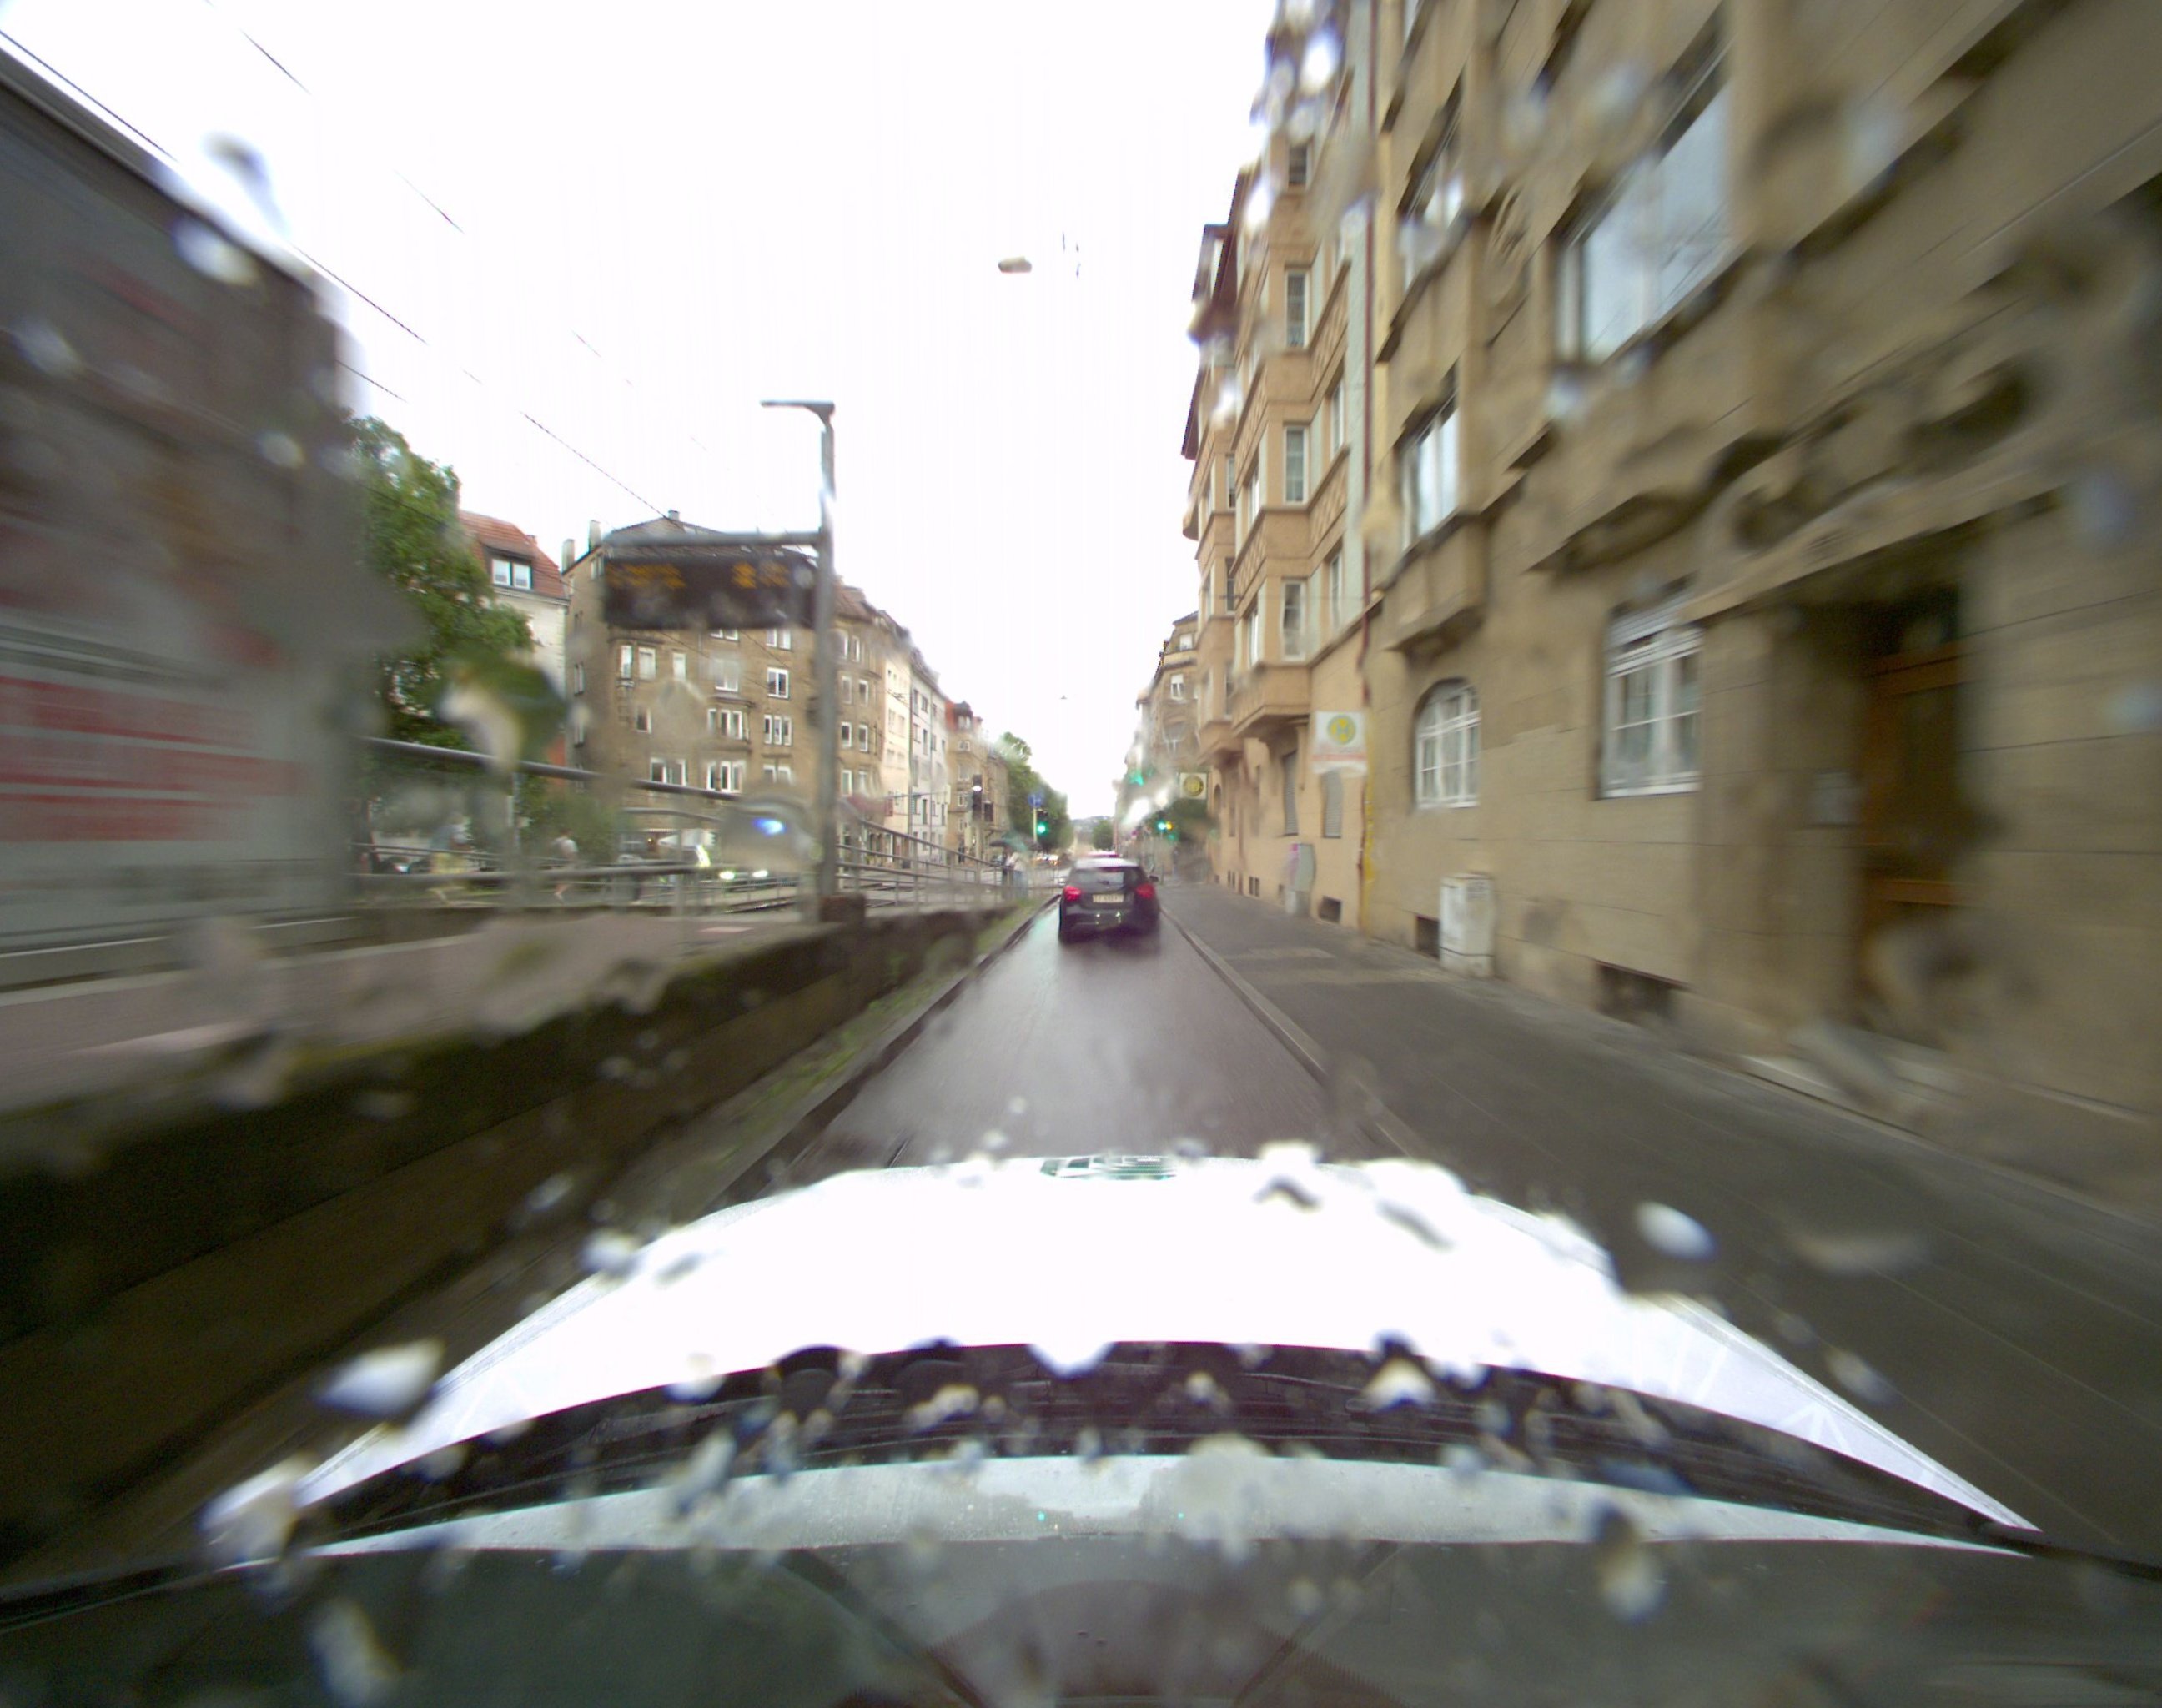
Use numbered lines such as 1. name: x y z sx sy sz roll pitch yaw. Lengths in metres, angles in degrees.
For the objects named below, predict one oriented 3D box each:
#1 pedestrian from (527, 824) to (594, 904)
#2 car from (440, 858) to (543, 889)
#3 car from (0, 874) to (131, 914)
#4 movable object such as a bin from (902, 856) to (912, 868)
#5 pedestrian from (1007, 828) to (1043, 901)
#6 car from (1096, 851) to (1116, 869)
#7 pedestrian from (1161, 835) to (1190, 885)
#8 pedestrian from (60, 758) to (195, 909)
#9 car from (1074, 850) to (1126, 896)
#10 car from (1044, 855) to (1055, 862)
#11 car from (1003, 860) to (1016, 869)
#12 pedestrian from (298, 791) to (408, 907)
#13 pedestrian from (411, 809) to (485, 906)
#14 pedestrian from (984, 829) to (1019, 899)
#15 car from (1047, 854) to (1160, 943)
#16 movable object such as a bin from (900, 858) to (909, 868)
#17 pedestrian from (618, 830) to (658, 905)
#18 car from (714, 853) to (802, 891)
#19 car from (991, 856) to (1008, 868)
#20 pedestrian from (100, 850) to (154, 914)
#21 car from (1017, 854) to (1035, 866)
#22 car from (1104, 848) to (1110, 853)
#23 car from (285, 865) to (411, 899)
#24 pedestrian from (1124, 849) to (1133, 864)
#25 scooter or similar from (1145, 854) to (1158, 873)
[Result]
1. pedestrian: -10.504 0.204 16.476 0.690 1.583 0.956 0 -1 2
2. car: -30.163 0.967 41.725 1.720 1.403 4.024 -2 0 43
3. car: -39.928 1.528 31.412 1.720 1.403 4.169 -2 0 43
4. movable object such as a bin: -16.043 0.741 75.146 0.710 1.074 0.687 3 0 1
5. pedestrian: -1.593 0.293 23.260 0.922 2.014 0.948 0 0 1
6. car: 2.276 0.525 75.391 1.759 1.559 4.747 -1 0 2
7. pedestrian: 3.649 0.242 31.337 0.960 1.840 0.904 -4 -1 6
8. pedestrian: -11.104 -0.223 9.511 0.662 1.699 0.688 1 -2 -2
9. car: 0.687 0.603 27.892 1.643 1.452 4.002 0 0 2
10. car: -6.577 1.019 171.700 1.941 1.396 4.276 -2 0 2
11. car: -11.331 1.626 128.725 1.562 1.316 3.484 -2 0 3
12. pedestrian: -10.916 -0.049 12.247 0.741 1.697 0.883 0 -4 1
13. pedestrian: -11.069 0.063 14.264 0.741 1.647 0.641 0 -1 1
14. pedestrian: -2.310 0.298 23.888 0.893 2.014 0.948 0 0 1
15. car: 0.487 0.721 15.351 1.858 1.452 4.004 0 0 3
16. movable object such as a bin: -16.113 0.820 74.436 0.591 0.911 0.560 3 0 1
17. pedestrian: -10.877 0.322 20.010 0.509 1.818 0.800 0 0 2
18. car: -13.526 0.712 34.422 1.637 1.497 4.766 -1 0 2
19. car: -11.415 1.093 113.618 1.715 1.541 3.937 -2 0 3
20. pedestrian: -25.544 0.728 21.813 0.602 1.675 0.688 -2 0 -1
21. car: -7.933 0.828 117.489 1.986 1.628 5.254 -1 -1 2
22. car: 7.146 -1.078 227.175 1.607 1.317 4.001 1 0 2
23. car: -33.891 1.265 37.744 1.720 1.403 4.193 -2 0 43
24. pedestrian: 5.463 0.289 94.178 0.942 1.769 1.015 -1 0 -1
25. scooter or similar: 4.755 0.648 54.918 0.636 1.210 1.551 -1 0 -3
